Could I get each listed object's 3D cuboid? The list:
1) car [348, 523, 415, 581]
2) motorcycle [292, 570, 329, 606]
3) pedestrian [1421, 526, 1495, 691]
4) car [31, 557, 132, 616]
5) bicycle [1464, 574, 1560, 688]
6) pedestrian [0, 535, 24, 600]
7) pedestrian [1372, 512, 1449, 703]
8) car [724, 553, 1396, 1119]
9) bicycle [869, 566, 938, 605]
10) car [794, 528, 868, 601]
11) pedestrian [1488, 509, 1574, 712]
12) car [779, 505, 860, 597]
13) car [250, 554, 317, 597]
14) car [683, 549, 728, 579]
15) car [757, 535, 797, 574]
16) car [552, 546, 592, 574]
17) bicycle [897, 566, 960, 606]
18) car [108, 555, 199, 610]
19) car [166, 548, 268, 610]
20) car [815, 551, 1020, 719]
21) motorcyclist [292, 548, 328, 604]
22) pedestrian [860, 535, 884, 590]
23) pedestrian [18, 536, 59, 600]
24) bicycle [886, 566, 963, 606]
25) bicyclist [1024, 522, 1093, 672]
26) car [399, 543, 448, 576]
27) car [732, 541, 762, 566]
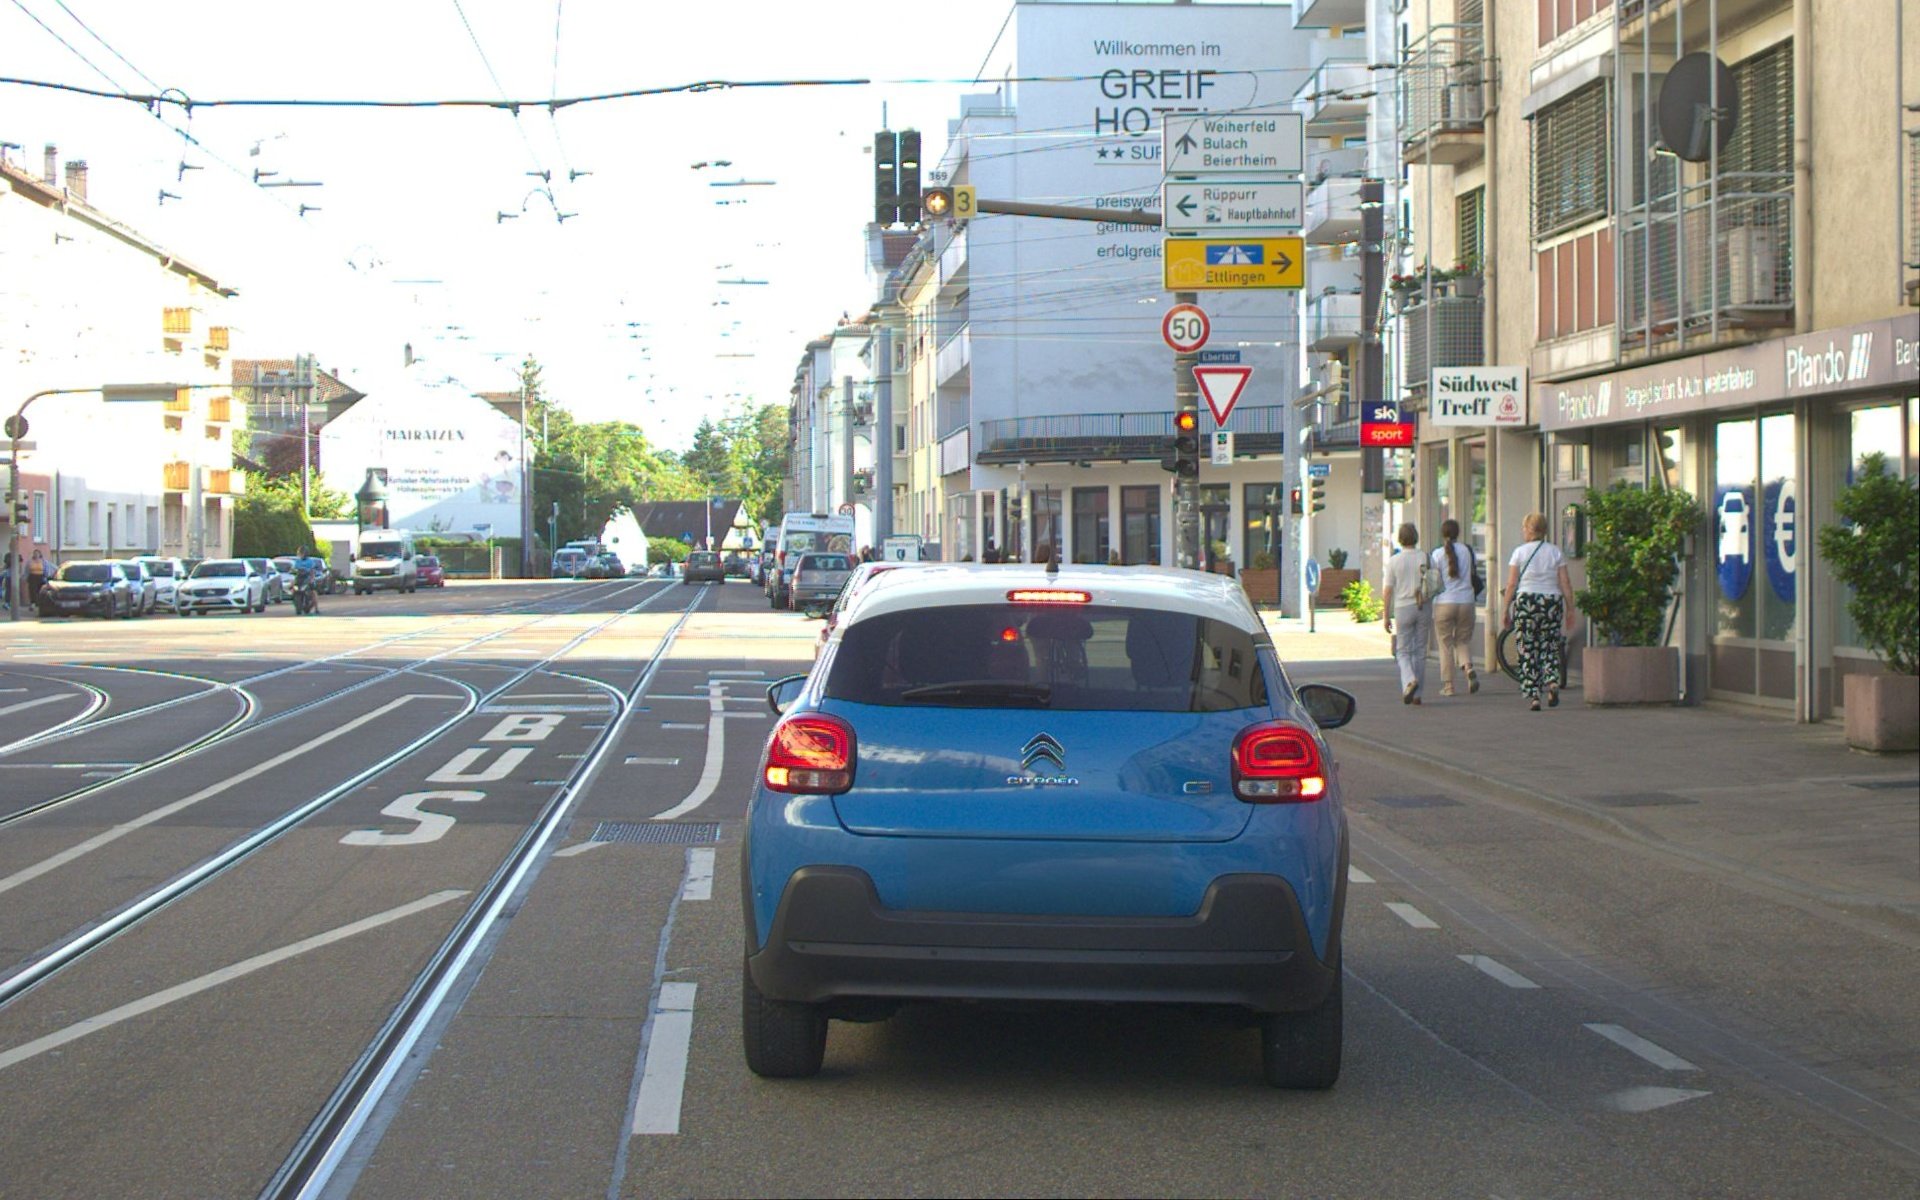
[{"bbox_3d":[-23.039,-1.920,136.961,2.206,2.243,4.677,0,1,-4],"label":"car"},{"bbox_3d":[-16.048,-0.305,85.004,0.615,0.861,1.671,0,1,0],"label":"motorcycle"},{"bbox_3d":[4.676,0.071,32.310,0.541,1.502,0.611,-2,2,-2],"label":"pedestrian"},{"bbox_3d":[-22.087,-0.357,86.551,1.910,1.428,4.001,0,1,-6],"label":"car"},{"bbox_3d":[5.394,0.293,33.649,0.530,1.069,1.811,0,1,-4],"label":"bicycle"},{"bbox_3d":[-25.040,-0.853,90.021,0.844,1.685,0.737,0,1,2],"label":"pedestrian"},{"bbox_3d":[4.035,0.058,30.817,0.541,1.666,0.624,-2,2,-2],"label":"pedestrian"},{"bbox_3d":[0.160,0.598,11.043,1.743,1.457,4.001,1,1,-3],"label":"car"},{"bbox_3d":[-1.412,-0.364,86.136,1.720,0.953,0.702,0,1,1],"label":"bicycle"},{"bbox_3d":[-3.212,-0.876,85.247,1.732,1.744,3.214,1,0,-4],"label":"car"},{"bbox_3d":[4.805,0.083,28.940,0.541,1.666,0.650,-2,1,-2],"label":"pedestrian"},{"bbox_3d":[-3.697,-1.274,90.158,1.993,2.317,4.001,1,0,-4],"label":"car"},{"bbox_3d":[-24.329,-0.894,123.797,1.910,1.492,4.001,0,1,-5],"label":"car"},{"bbox_3d":[-11.085,-1.578,149.487,1.754,1.255,3.833,0,1,-7],"label":"car"},{"bbox_3d":[-7.940,-1.969,149.365,1.688,1.612,4.000,1,0,-3],"label":"car"},{"bbox_3d":[-21.106,-2.189,187.126,2.021,1.520,4.001,0,1,-4],"label":"car"},{"bbox_3d":[-0.768,-0.334,83.718,1.504,0.953,0.702,0,1,1],"label":"bicycle"},{"bbox_3d":[-22.700,-0.518,96.901,1.910,1.492,4.001,0,1,-5],"label":"car"},{"bbox_3d":[-19.666,-0.577,91.165,1.849,1.568,4.401,0,1,-1],"label":"car"},{"bbox_3d":[-0.384,0.273,31.254,1.738,1.415,4.000,0,1,-1],"label":"car"},{"bbox_3d":[-16.036,-0.589,84.846,0.719,1.373,0.911,0,1,0],"label":"motorcyclist"},{"bbox_3d":[-2.720,-1.158,106.479,0.708,1.703,0.748,0,1,-1],"label":"pedestrian"},{"bbox_3d":[-24.162,-0.840,90.130,0.844,1.685,0.737,0,1,2],"label":"pedestrian"},{"bbox_3d":[-0.871,-0.347,84.778,1.874,0.953,0.702,0,1,1],"label":"bicycle"},{"bbox_3d":[1.086,-0.040,37.928,0.726,1.640,0.790,0,1,-1],"label":"bicyclist"},{"bbox_3d":[-25.310,-1.916,162.271,2.021,1.520,4.001,0,1,-4],"label":"car"},{"bbox_3d":[-15.857,-3.471,256.070,1.993,1.787,4.000,0,1,-1],"label":"car"}]
